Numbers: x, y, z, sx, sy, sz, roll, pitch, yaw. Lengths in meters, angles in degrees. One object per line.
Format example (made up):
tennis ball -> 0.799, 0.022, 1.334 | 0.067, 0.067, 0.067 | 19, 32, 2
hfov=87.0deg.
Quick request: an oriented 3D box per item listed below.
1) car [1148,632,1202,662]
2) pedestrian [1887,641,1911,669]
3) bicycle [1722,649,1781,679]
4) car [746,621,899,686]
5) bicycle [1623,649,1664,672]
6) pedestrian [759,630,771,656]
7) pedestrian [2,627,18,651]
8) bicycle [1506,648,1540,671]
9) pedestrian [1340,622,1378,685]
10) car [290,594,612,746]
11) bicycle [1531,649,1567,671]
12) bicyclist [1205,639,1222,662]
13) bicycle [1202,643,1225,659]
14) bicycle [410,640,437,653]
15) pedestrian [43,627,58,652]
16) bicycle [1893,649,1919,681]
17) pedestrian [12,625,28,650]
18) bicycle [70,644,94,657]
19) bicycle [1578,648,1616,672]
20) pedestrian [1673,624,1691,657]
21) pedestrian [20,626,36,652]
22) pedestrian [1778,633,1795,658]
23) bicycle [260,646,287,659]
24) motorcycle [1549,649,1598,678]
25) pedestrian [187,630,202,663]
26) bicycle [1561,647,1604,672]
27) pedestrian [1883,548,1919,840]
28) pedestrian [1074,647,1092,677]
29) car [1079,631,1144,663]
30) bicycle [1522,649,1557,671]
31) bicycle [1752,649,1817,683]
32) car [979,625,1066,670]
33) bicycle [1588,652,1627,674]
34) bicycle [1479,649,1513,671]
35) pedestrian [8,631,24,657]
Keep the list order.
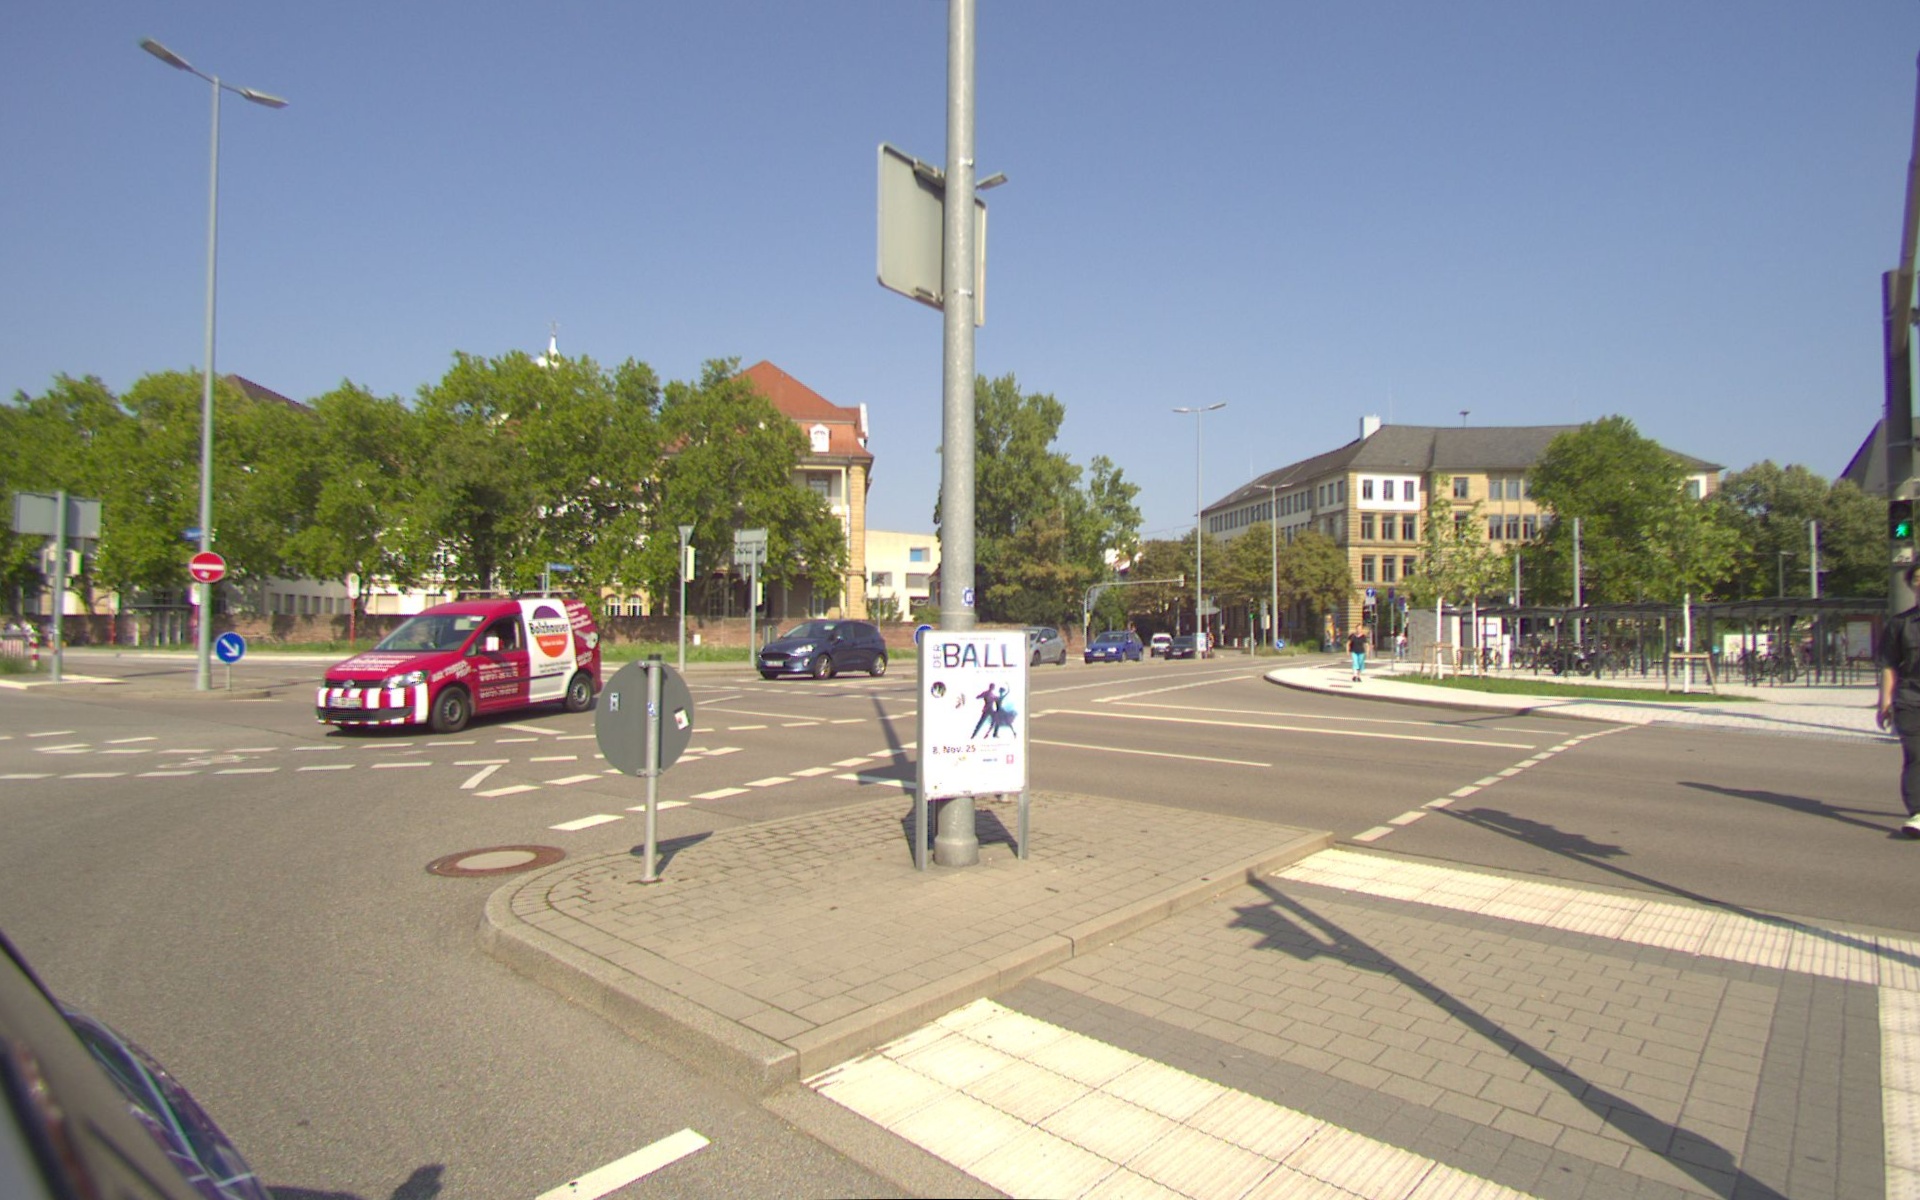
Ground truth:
car -> 12.057, 2.603, 56.550 | 1.990, 1.564, 3.963 | -1, -2, 27
pedestrian -> 41.213, 2.409, 44.404 | 0.460, 1.206, 0.575 | 0, -2, -6
bicycle -> 28.635, 2.305, 36.640 | 0.454, 1.017, 1.878 | 0, -2, -7
car -> -3.256, 1.283, 24.852 | 1.632, 1.438, 4.283 | -1, -3, 26
bicycle -> 27.776, 2.470, 41.155 | 0.403, 0.899, 1.590 | 0, -2, -7
pedestrian -> -12.620, 2.776, 65.451 | 0.707, 1.696, 0.595 | 0, -2, -4
pedestrian -> -63.312, 2.581, 67.444 | 0.496, 1.583, 0.533 | -2, -4, 8
bicycle -> 23.947, 2.526, 43.068 | 0.415, 0.975, 1.590 | 0, -2, -7
pedestrian -> 10.263, 1.362, 26.048 | 0.745, 1.577, 0.665 | 1, -2, 10
car -> -7.020, 0.893, 14.530 | 1.722, 1.833, 4.254 | -1, -1, 16
bicycle -> 25.220, 2.559, 43.353 | 0.403, 0.899, 1.590 | 0, -2, -7
bicyclist -> 20.025, 3.984, 79.816 | 0.884, 1.759, 1.355 | -4, -4, 30
bicycle -> 19.983, 3.982, 79.744 | 0.884, 1.214, 3.046 | -4, -4, 30
bicycle -> -34.583, 3.016, 65.265 | 1.529, 0.842, 0.433 | 0, -2, 3
pedestrian -> -60.674, 2.653, 67.526 | 0.588, 1.664, 0.481 | -3, -4, 10
bicycle -> 30.733, 2.067, 32.155 | 0.395, 1.017, 1.748 | 0, -2, -7
pedestrian -> -63.282, 2.535, 68.119 | 0.588, 1.664, 0.481 | -3, -4, 10
bicycle -> -59.655, 3.442, 68.757 | 1.535, 0.842, 0.432 | 0, -2, 14
bicycle -> 27.459, 2.571, 43.626 | 0.445, 0.985, 1.590 | -1, -2, -7
pedestrian -> 39.283, 2.200, 55.068 | 0.713, 1.762, 0.386 | -1, -3, 25
pedestrian -> -61.183, 2.570, 66.430 | 0.588, 1.664, 0.518 | -3, -4, 10
pedestrian -> 41.306, 2.268, 50.554 | 0.433, 1.234, 0.383 | -2, -4, -6
bicycle -> -44.757, 3.409, 65.990 | 1.531, 0.842, 0.433 | 0, -2, 6
motorcycle -> 22.399, 2.305, 37.000 | 0.534, 1.017, 1.748 | 0, -2, -7
pedestrian -> -49.772, 3.012, 65.811 | 0.588, 2.121, 0.518 | -3, -4, 10
bicycle -> 25.405, 2.434, 41.327 | 0.525, 0.994, 1.716 | 0, -2, -7
pedestrian -> 6.638, 0.597, 6.659 | 1.066, 1.854, 0.730 | 1, -2, -44
pedestrian -> 8.752, 4.415, 72.026 | 0.821, 2.029, 0.895 | -5, -5, 41
car -> 6.673, 2.046, 44.297 | 1.599, 1.339, 4.294 | -1, -2, 26
bicycle -> 24.682, 2.542, 43.116 | 0.395, 0.899, 1.590 | 0, -2, -7
bicycle -> 25.669, 2.039, 31.545 | 0.395, 1.017, 1.748 | 0, -2, -7
car -> 2.231, 1.617, 34.981 | 1.712, 1.444, 3.826 | -1, -2, 26
bicycle -> 26.415, 2.561, 41.291 | 0.403, 0.899, 1.590 | 0, -2, -7
bicycle -> 22.708, 2.552, 42.901 | 0.395, 0.899, 1.590 | 0, -2, -7
pedestrian -> -62.191, 2.901, 66.675 | 0.588, 1.664, 0.518 | -3, -4, 10
